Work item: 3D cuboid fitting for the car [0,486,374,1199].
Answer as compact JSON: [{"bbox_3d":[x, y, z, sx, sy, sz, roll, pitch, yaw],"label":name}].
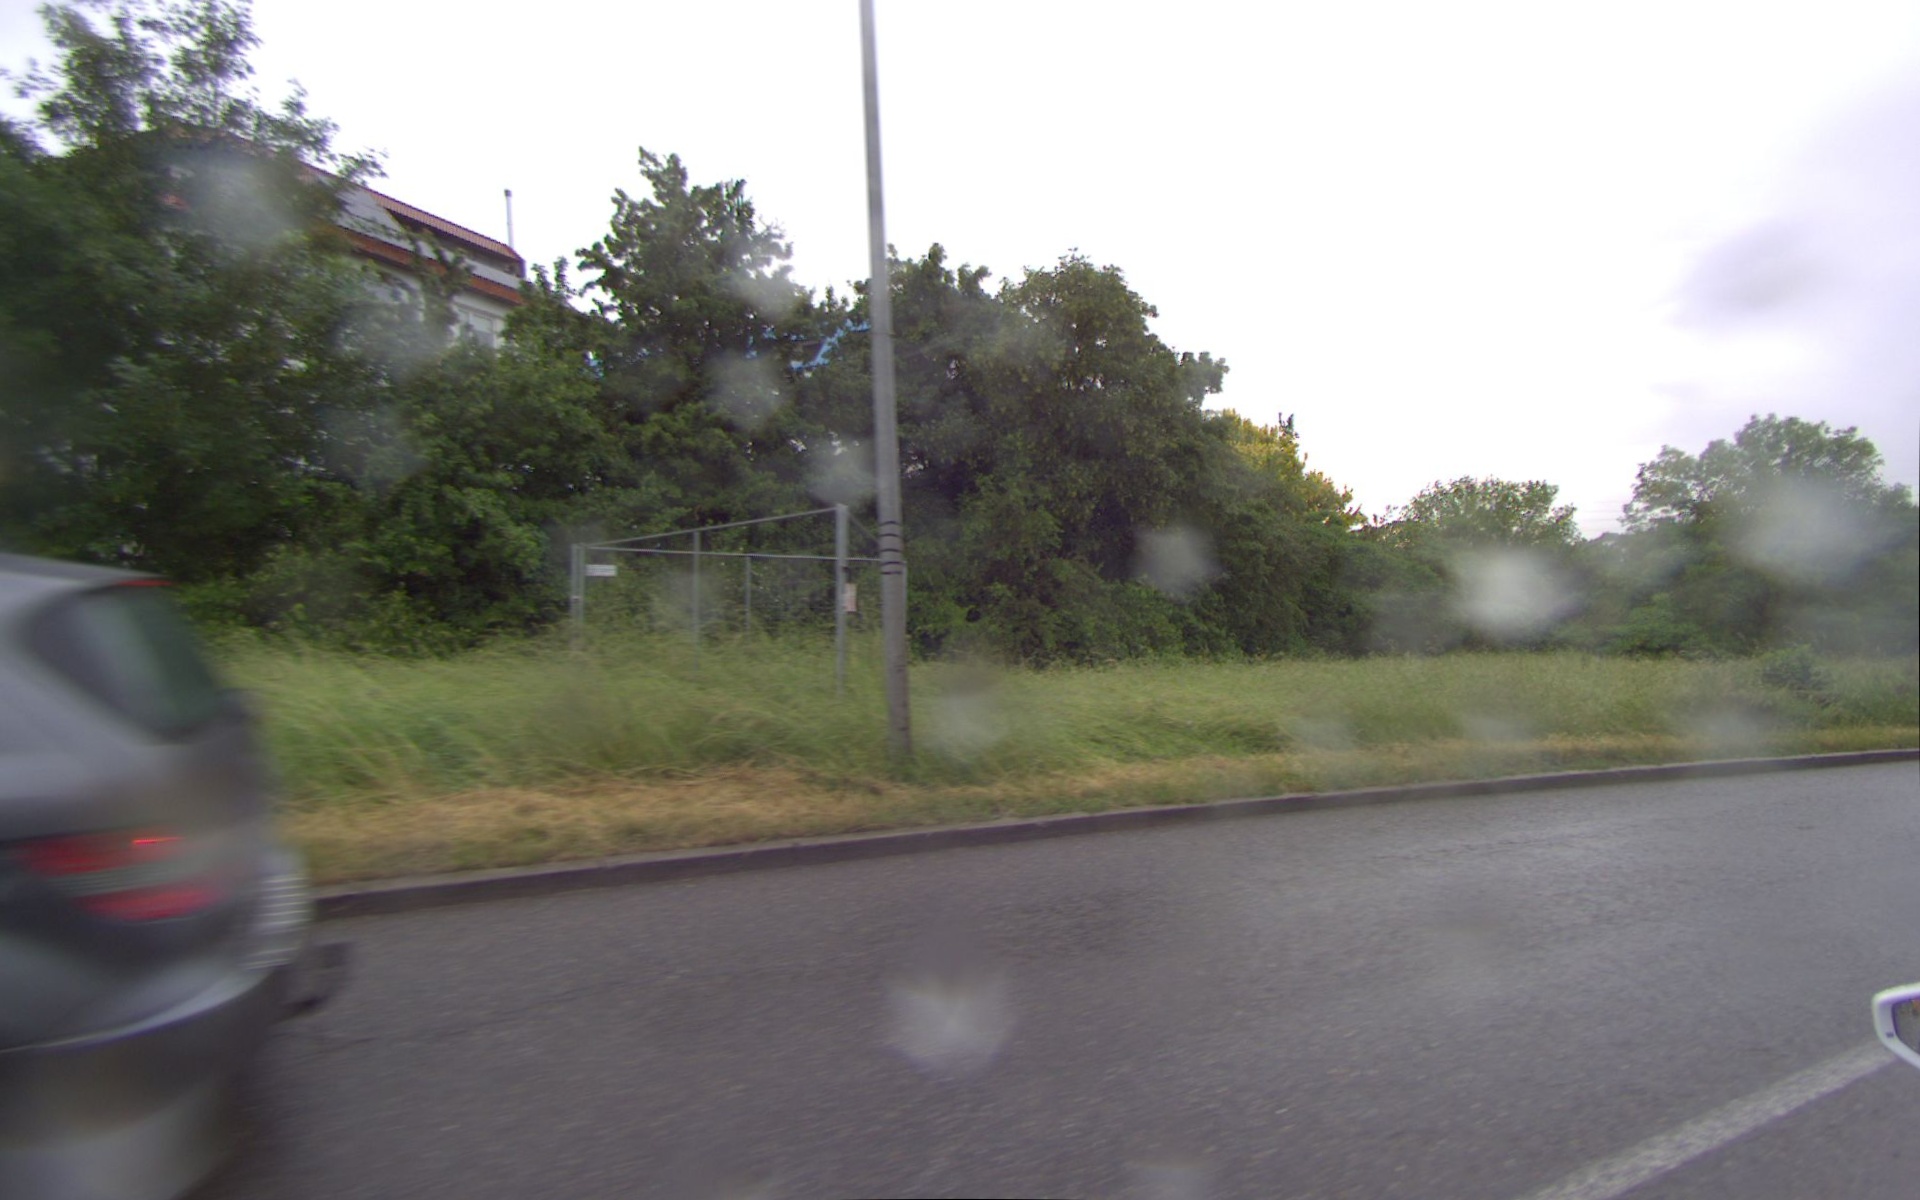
[{"bbox_3d":[-3.520,0.529,1.797,4.216,1.572,1.855,2,0,-31],"label":"car"}]
